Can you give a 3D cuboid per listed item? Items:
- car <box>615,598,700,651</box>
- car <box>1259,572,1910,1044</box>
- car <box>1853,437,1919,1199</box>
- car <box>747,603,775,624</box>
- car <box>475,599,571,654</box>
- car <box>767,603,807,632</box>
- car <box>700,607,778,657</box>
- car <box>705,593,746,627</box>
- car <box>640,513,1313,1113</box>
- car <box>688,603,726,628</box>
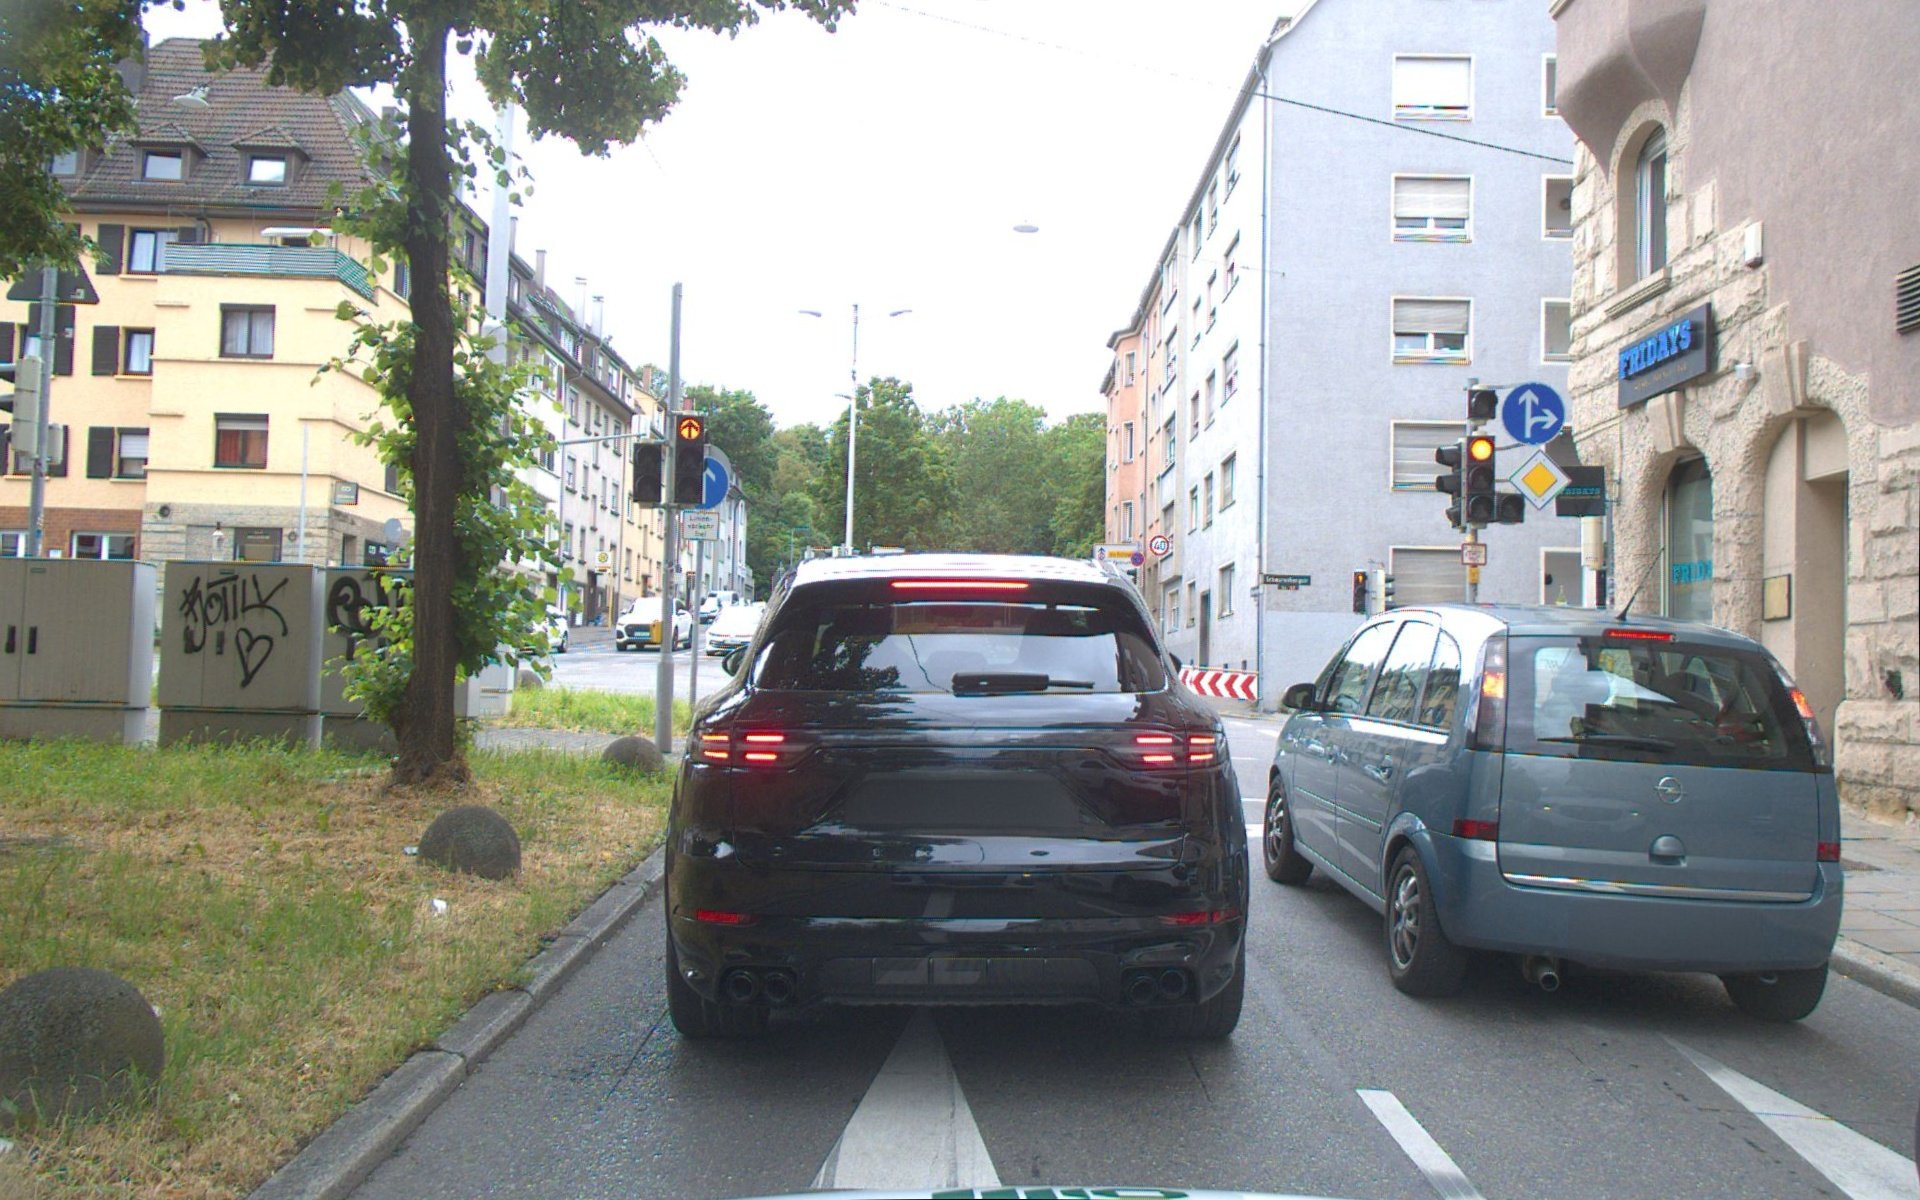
[{"bbox_3d":[-9.727,0.767,53.520,1.933,1.638,4.557,1,0,-1],"label":"car"},{"bbox_3d":[2.630,0.773,7.905,1.596,1.625,3.668,4,0,-1],"label":"car"},{"bbox_3d":[2.914,0.642,1.077,1.936,1.806,4.674,4,0,-2],"label":"car"},{"bbox_3d":[-15.038,1.023,125.252,1.655,1.565,3.813,1,0,0],"label":"car"},{"bbox_3d":[-12.823,0.759,48.752,1.806,1.512,3.897,1,0,-1],"label":"car"},{"bbox_3d":[-9.444,0.986,90.339,1.585,1.506,3.824,1,-1,3],"label":"car"},{"bbox_3d":[-6.688,0.948,50.464,1.824,1.412,4.094,1,0,0],"label":"car"},{"bbox_3d":[-14.778,0.648,104.435,1.975,2.081,4.666,1,0,0],"label":"car"},{"bbox_3d":[0.024,0.615,6.720,1.916,1.704,3.999,0,0,-1],"label":"car"},{"bbox_3d":[-15.079,0.899,98.642,1.703,1.411,3.813,1,0,0],"label":"car"}]
